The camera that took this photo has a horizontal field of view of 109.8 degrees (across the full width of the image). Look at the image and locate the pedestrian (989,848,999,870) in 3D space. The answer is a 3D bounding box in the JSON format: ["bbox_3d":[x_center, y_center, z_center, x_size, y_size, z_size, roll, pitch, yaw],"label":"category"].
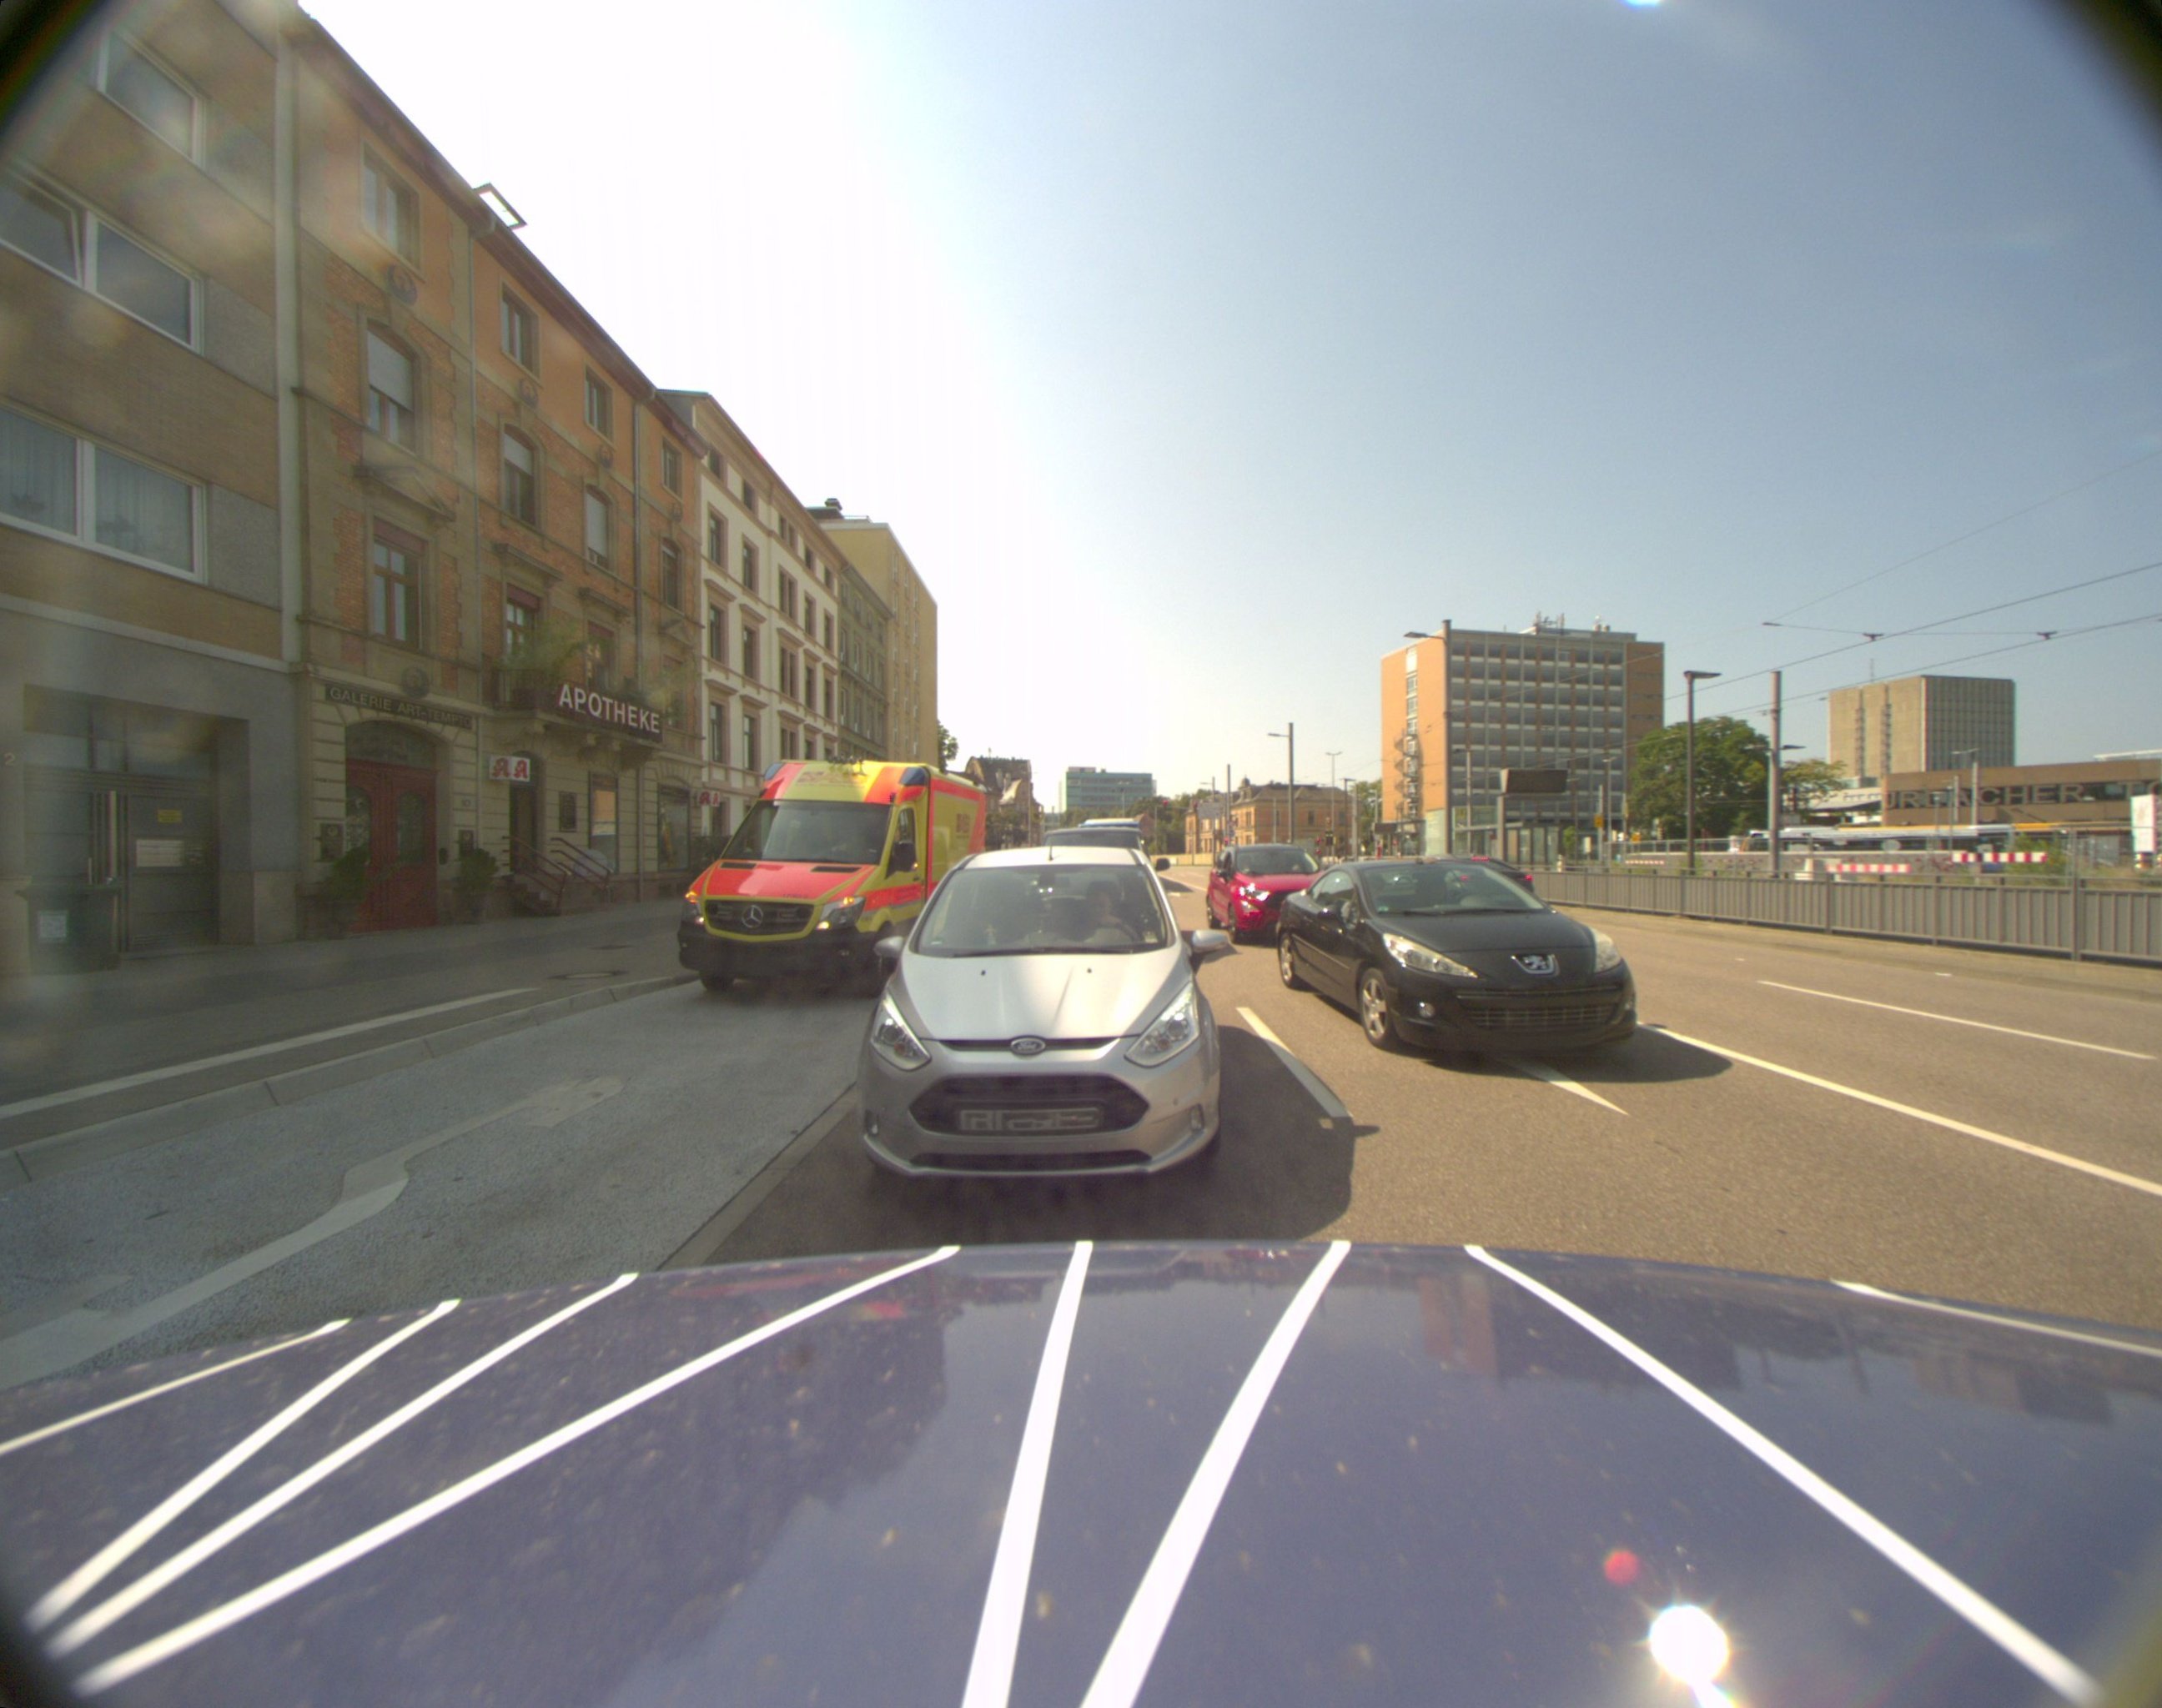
[{"bbox_3d":[-6.415,0.360,56.302,0.645,1.619,0.796,1,1,0],"label":"pedestrian"}]

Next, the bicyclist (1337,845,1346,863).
[{"bbox_3d":[28.504,0.022,83.024,0.857,1.891,0.664,-2,1,21],"label":"bicyclist"}]

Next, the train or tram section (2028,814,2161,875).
[{"bbox_3d":[67.655,-0.586,46.270,2.004,3.743,12.331,-1,0,-45],"label":"train or tram section"}]

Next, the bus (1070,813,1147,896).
[{"bbox_3d":[1.489,-0.014,35.931,2.919,3.119,12.347,-2,0,4],"label":"bus"}]

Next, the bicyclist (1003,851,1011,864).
[{"bbox_3d":[-8.541,0.405,87.855,0.721,1.577,1.103,-1,0,2],"label":"bicyclist"}]

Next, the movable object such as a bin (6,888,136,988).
[{"bbox_3d":[-11.978,0.973,9.043,0.648,1.098,0.727,1,0,-24],"label":"movable object such as a bin"}]

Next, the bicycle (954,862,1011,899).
[{"bbox_3d":[-3.393,0.914,26.239,1.841,1.212,0.434,-2,1,1],"label":"bicycle"}]

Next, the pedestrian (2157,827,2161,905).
[{"bbox_3d":[25.085,0.273,17.054,0.745,1.777,0.761,0,1,1],"label":"pedestrian"}]

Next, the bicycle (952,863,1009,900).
[{"bbox_3d":[-3.406,0.927,25.778,1.841,1.196,0.434,-2,1,1],"label":"bicycle"}]

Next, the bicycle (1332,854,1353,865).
[{"bbox_3d":[28.559,0.632,83.019,2.182,1.095,0.664,-2,1,21],"label":"bicycle"}]

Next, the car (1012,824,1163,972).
[{"bbox_3d":[0.139,0.590,12.673,1.998,1.953,4.816,-1,0,1],"label":"car"}]

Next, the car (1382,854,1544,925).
[{"bbox_3d":[8.955,0.750,18.305,1.750,1.427,4.573,1,1,3],"label":"car"}]

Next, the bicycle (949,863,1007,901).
[{"bbox_3d":[-3.433,0.930,25.341,1.841,1.196,0.434,-2,1,1],"label":"bicycle"}]

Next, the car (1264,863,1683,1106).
[{"bbox_3d":[2.903,0.841,6.627,1.692,1.405,3.801,-2,0,1],"label":"car"}]

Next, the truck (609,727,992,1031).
[{"bbox_3d":[-3.008,0.205,10.224,2.333,2.754,6.340,2,1,4],"label":"truck"}]

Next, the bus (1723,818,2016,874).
[{"bbox_3d":[52.342,-0.423,51.342,3.357,3.275,13.371,-3,0,-45],"label":"bus"}]

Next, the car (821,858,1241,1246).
[{"bbox_3d":[-0.161,0.849,5.190,1.728,1.579,4.000,-1,0,1],"label":"car"}]

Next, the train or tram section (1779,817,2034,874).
[{"bbox_3d":[58.945,-0.545,55.012,2.004,3.743,12.331,-1,0,-45],"label":"train or tram section"}]

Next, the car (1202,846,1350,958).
[{"bbox_3d":[3.185,0.695,13.155,1.634,1.611,3.968,-2,0,2],"label":"car"}]
